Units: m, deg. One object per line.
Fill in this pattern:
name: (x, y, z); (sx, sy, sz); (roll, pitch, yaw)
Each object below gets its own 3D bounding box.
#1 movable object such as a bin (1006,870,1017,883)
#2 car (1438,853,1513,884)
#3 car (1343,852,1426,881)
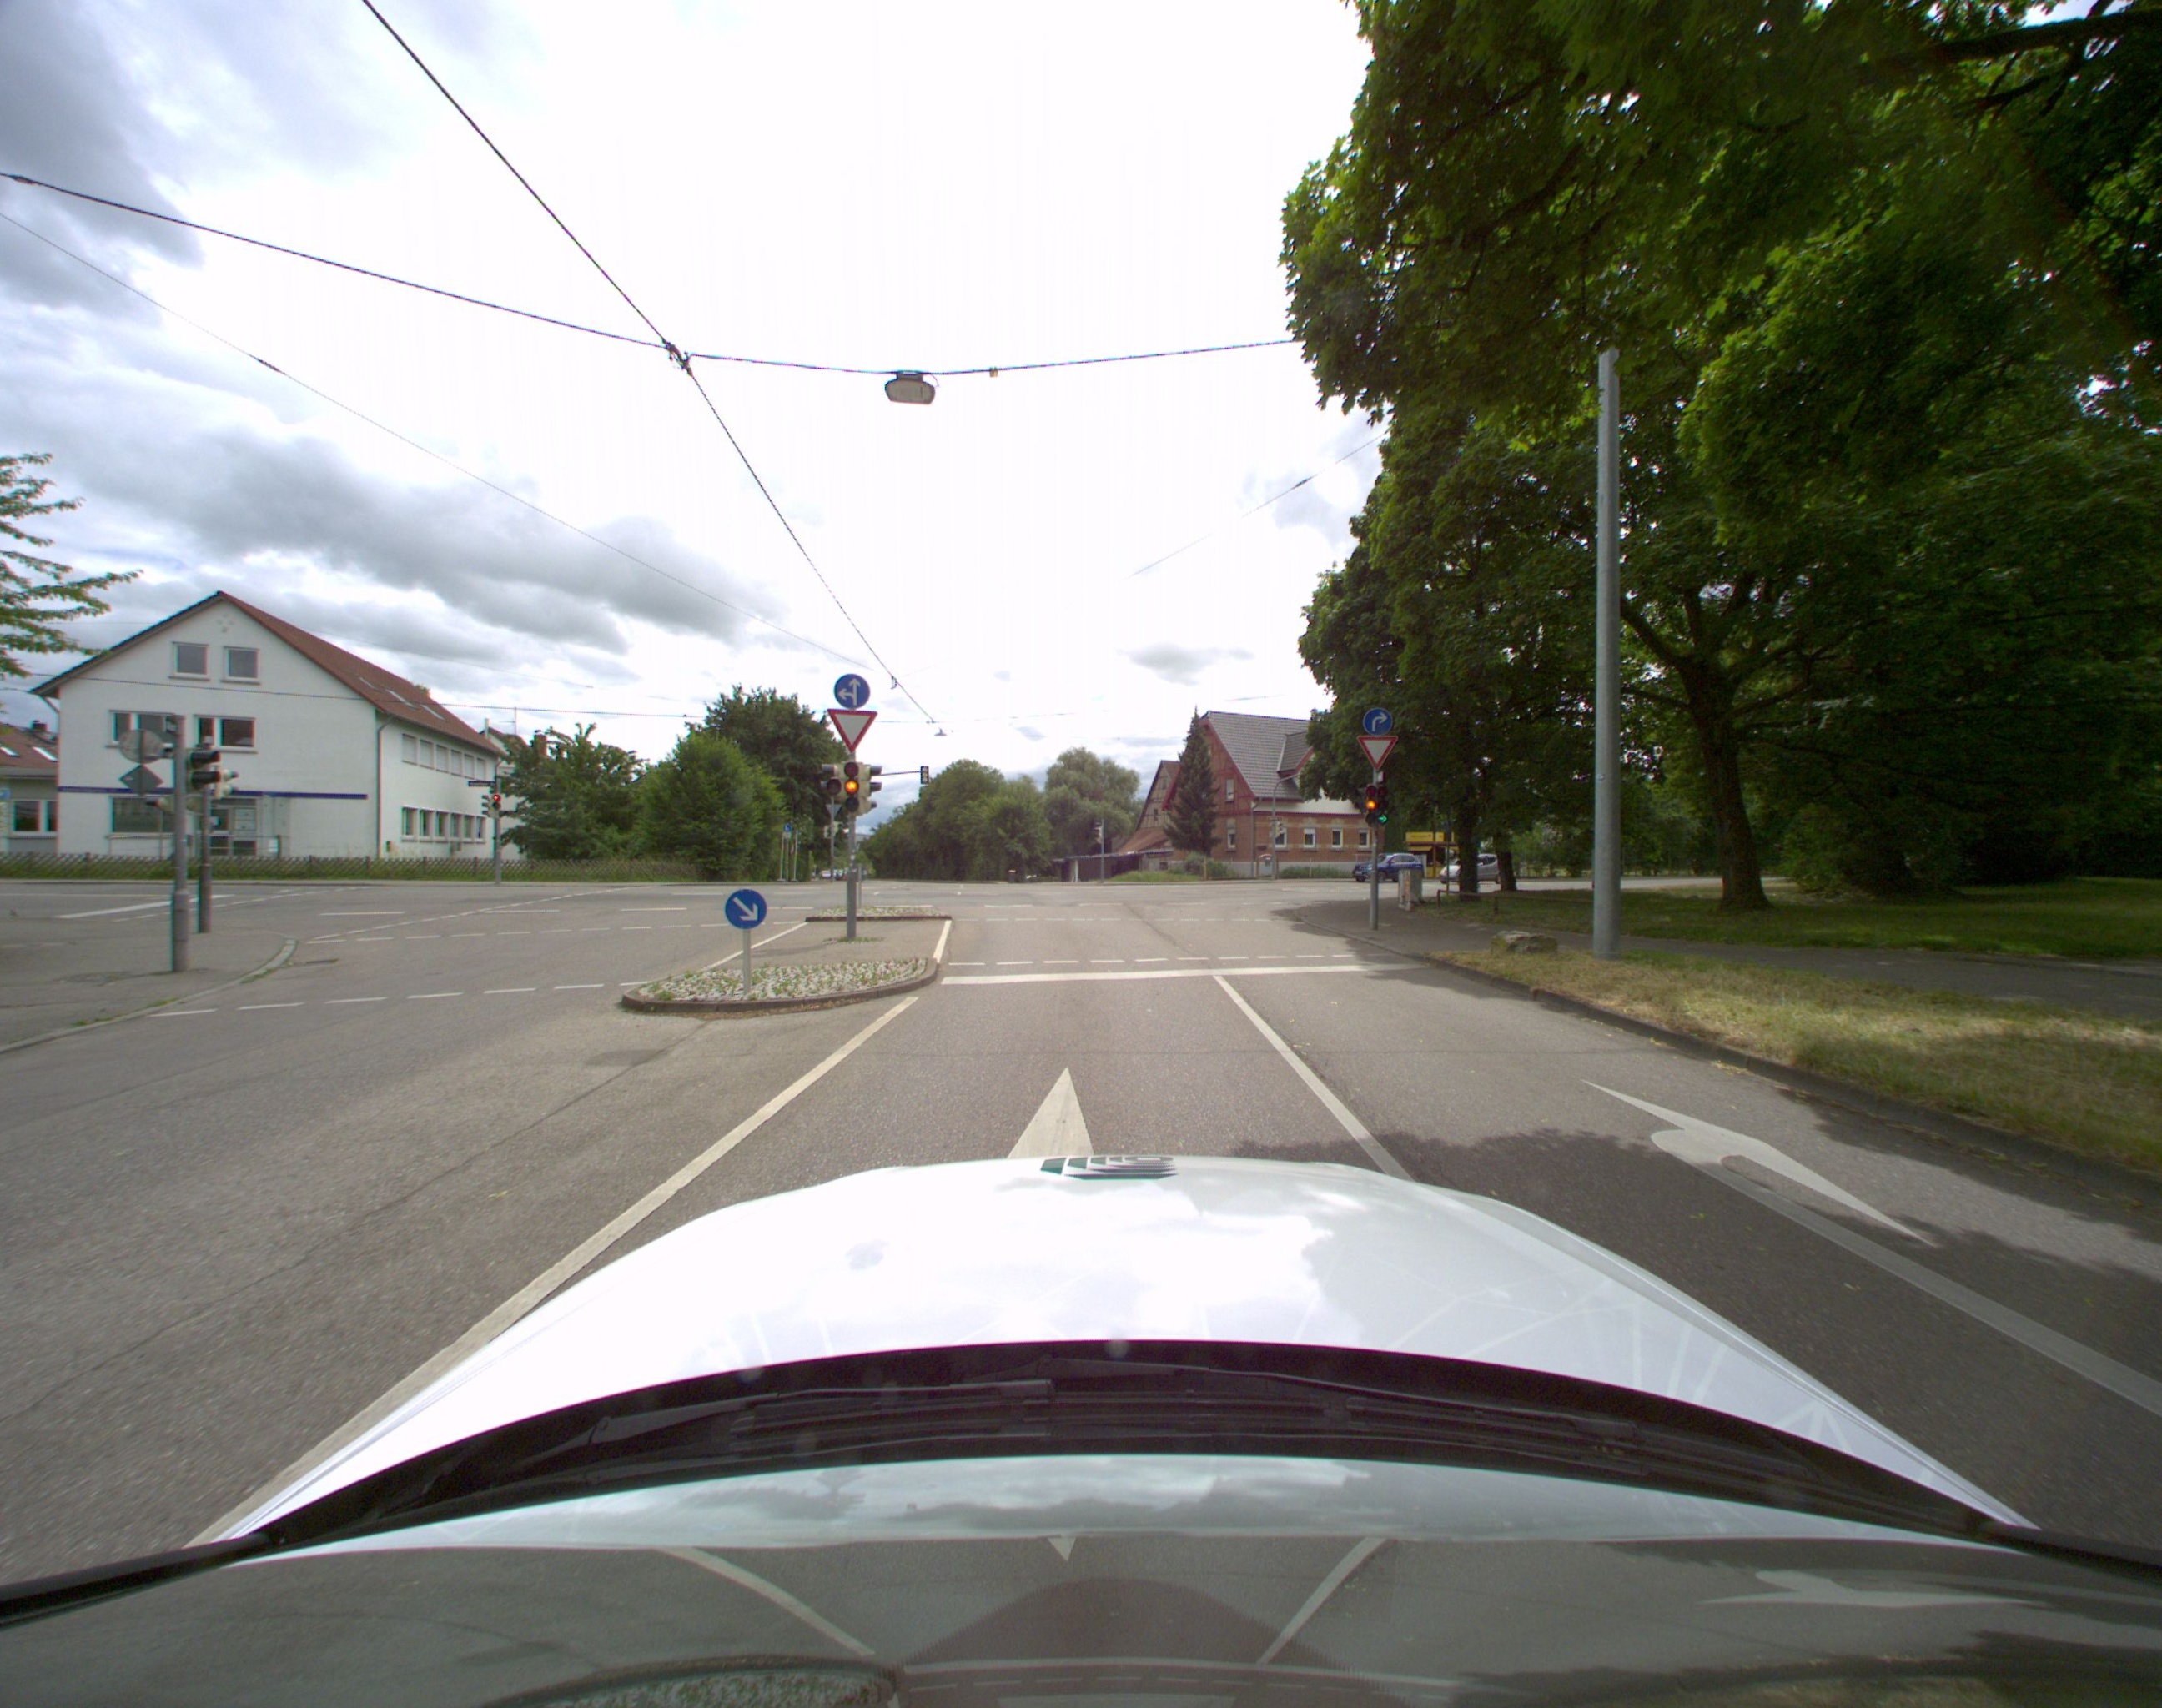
movable object such as a bin: (-4.893, 1.599, 57.367); (0.586, 0.906, 0.605); (0, -1, 18)
car: (20.645, 0.748, 42.615); (3.568, 1.519, 1.764); (0, -2, -30)
car: (16.459, 0.669, 44.135); (4.004, 1.518, 1.913); (0, 0, -23)
